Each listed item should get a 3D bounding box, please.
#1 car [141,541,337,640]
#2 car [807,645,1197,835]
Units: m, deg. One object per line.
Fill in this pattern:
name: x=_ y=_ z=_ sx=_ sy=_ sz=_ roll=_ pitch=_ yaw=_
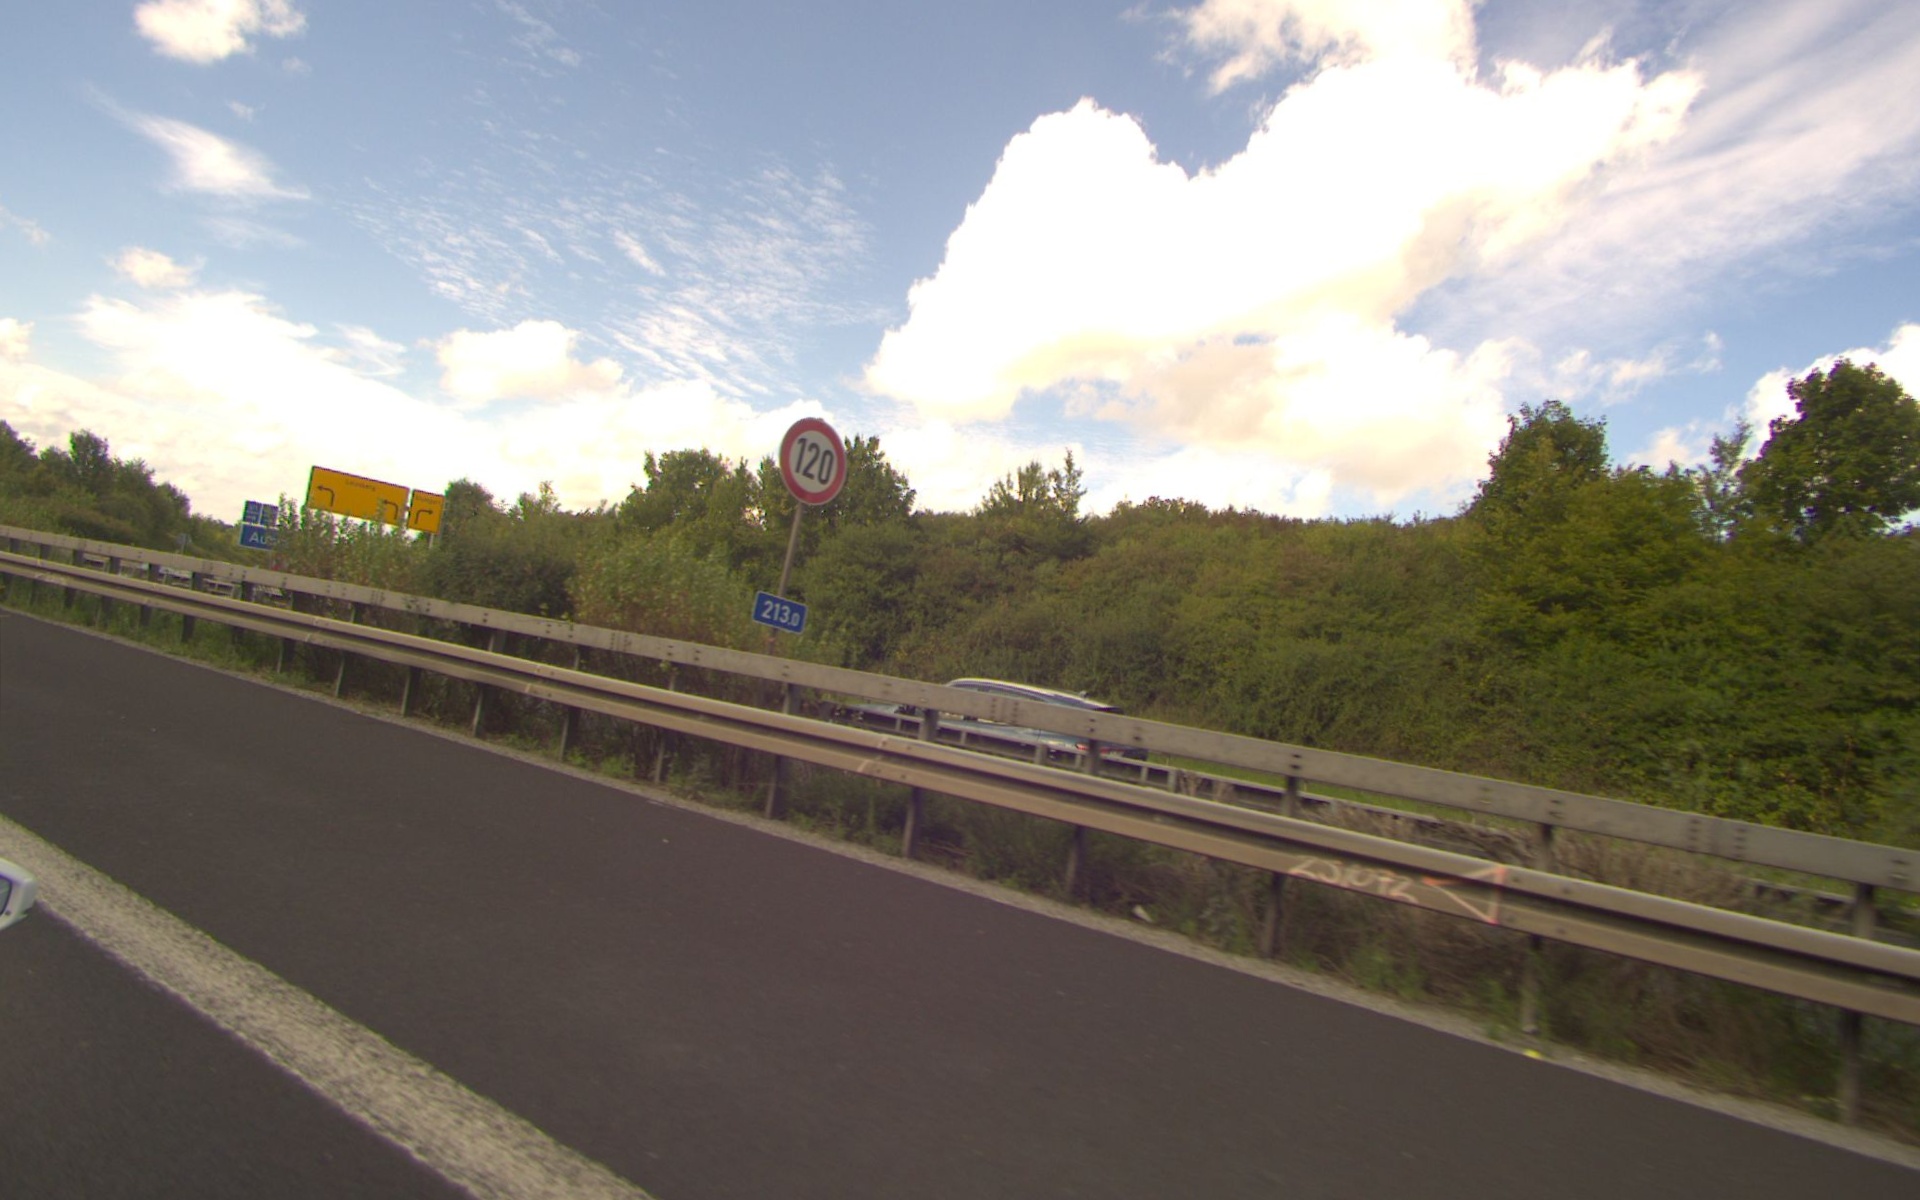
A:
car: x=-16.176 y=-0.225 z=22.526 sx=4.269 sy=1.589 sz=1.789 roll=7 pitch=-2 yaw=29
car: x=0.474 y=1.685 z=13.003 sx=4.596 sy=1.536 sz=1.788 roll=7 pitch=-2 yaw=30
